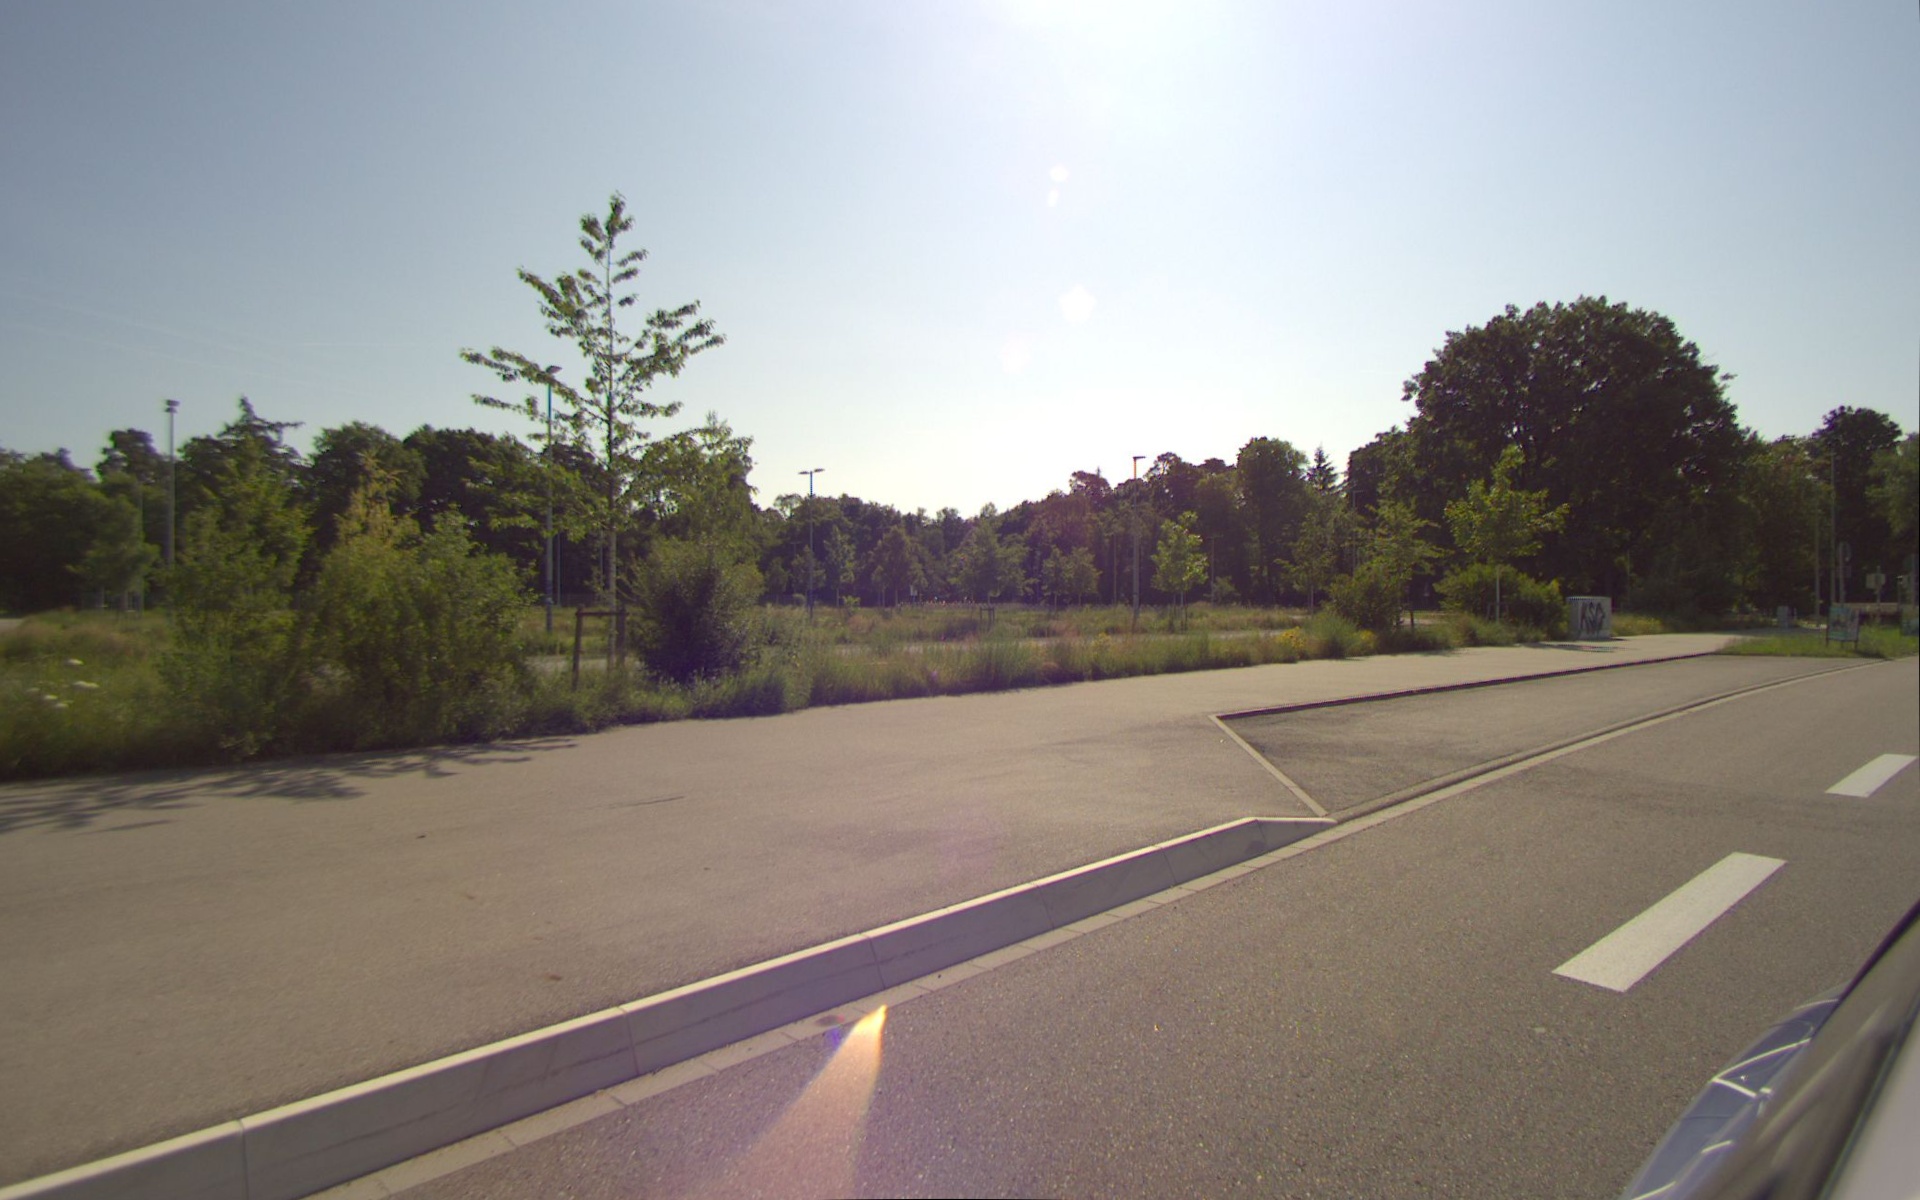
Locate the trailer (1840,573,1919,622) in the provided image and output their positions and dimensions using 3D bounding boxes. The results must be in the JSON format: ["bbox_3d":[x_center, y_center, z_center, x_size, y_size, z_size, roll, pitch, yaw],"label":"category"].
[{"bbox_3d":[54.310,-0.141,57.866,2.658,2.722,6.873,0,0,8],"label":"trailer"}]

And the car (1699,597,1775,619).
[{"bbox_3d":[54.203,0.516,70.685,1.808,1.502,4.007,0,0,-11],"label":"car"}]
